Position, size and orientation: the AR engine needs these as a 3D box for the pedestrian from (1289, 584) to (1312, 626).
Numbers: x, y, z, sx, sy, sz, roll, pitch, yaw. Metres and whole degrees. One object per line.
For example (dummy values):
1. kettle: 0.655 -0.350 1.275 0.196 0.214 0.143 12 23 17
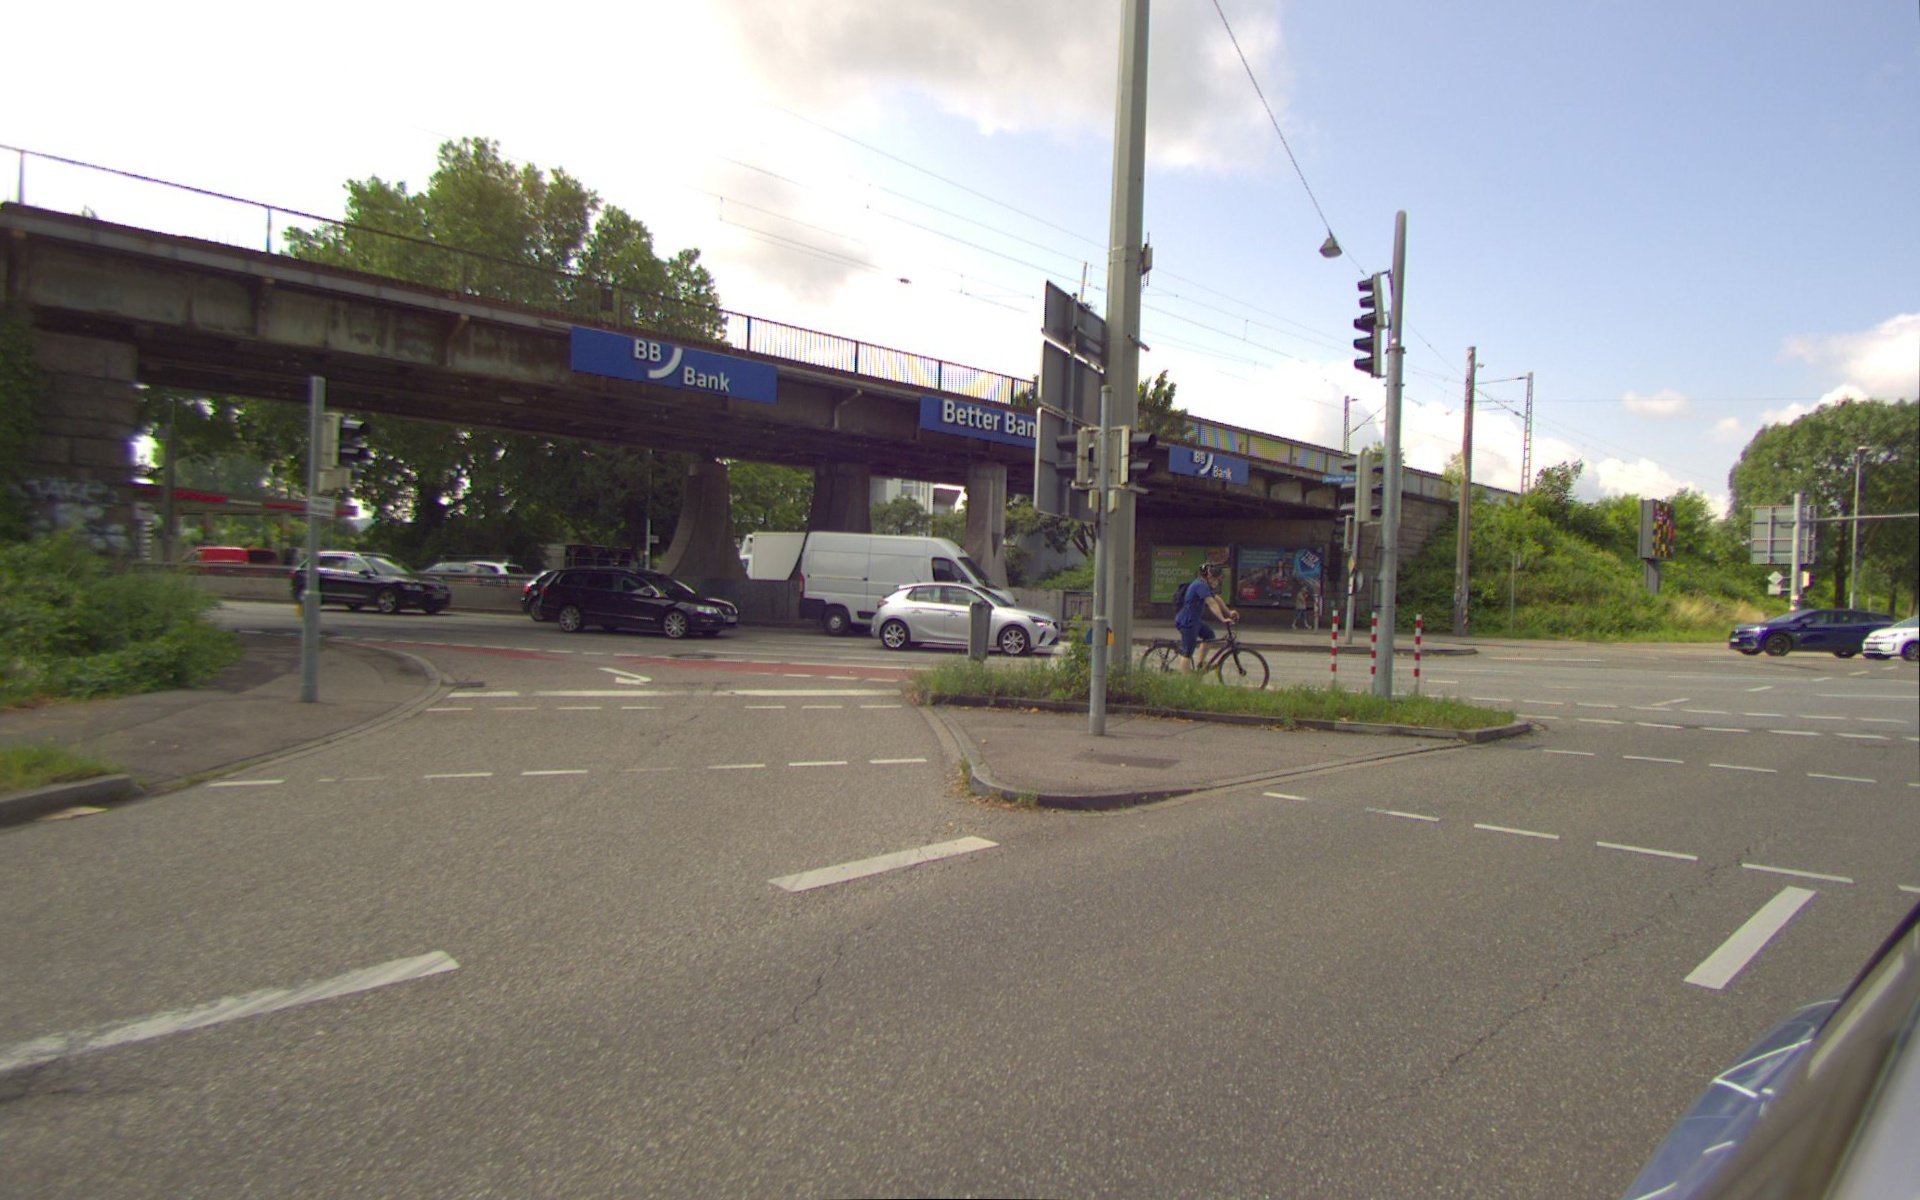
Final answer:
1. pedestrian: 14.145 0.209 42.033 0.690 1.670 0.600 0 4 44

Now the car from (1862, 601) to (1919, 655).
1. car: 28.950 0.843 29.471 3.546 1.504 1.732 2 1 12

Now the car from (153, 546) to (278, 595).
1. car: -33.532 -1.328 45.611 4.602 2.042 1.956 1 1 11

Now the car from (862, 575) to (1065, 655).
1. car: 0.105 0.259 21.059 3.940 1.495 1.702 1 1 13

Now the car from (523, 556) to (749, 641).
1. car: -7.341 -0.092 23.088 4.588 1.602 1.767 3 4 9

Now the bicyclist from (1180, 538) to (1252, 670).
1. bicyclist: 3.480 0.036 13.731 0.813 1.698 0.840 -1 4 21

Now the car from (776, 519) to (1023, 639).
1. car: -1.430 -0.533 24.889 5.545 2.555 2.258 -2 5 15

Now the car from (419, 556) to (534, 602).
1. car: -21.681 -0.952 45.451 4.443 1.925 1.993 2 1 15

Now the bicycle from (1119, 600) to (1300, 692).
1. bicycle: 3.402 0.595 13.806 2.290 1.107 0.839 2 1 21

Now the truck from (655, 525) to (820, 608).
1. truck: -8.753 -1.273 40.046 5.926 3.161 2.450 0 0 8

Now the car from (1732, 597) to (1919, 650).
1. car: 28.185 0.745 32.891 4.513 1.595 1.885 -1 1 14

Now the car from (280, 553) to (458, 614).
1. car: -16.408 -0.482 28.132 4.254 1.595 1.846 1 1 15
